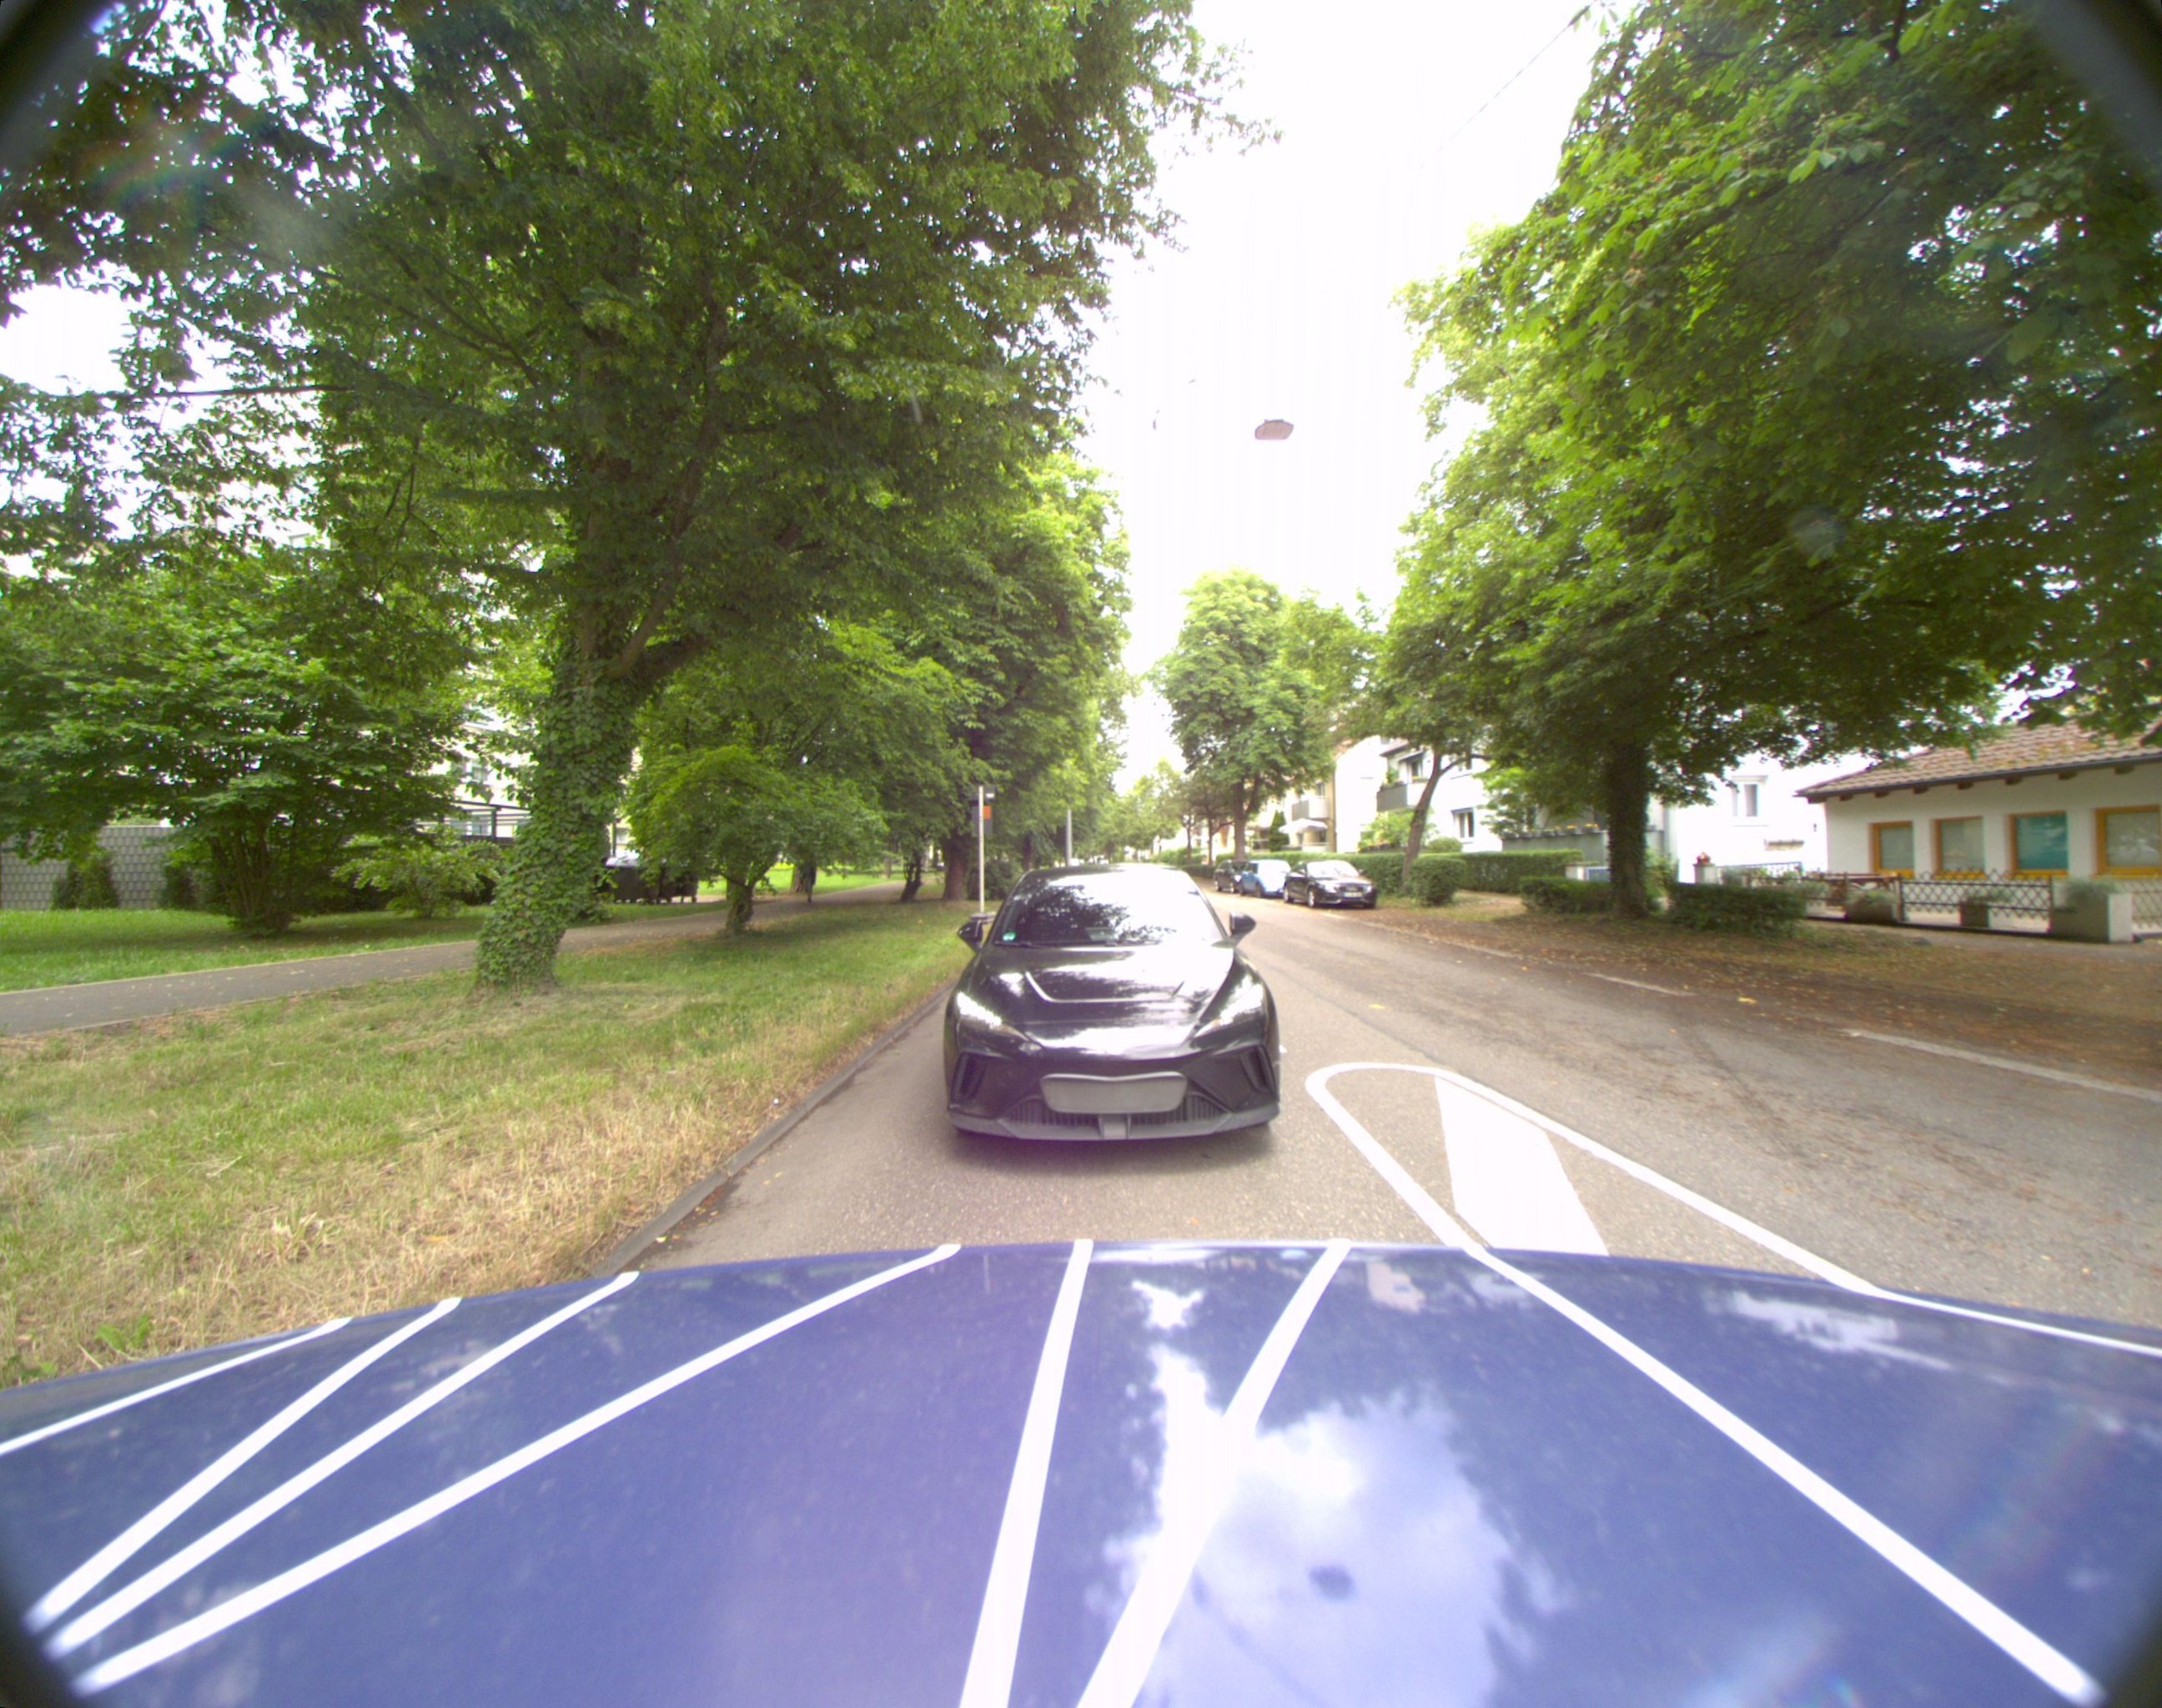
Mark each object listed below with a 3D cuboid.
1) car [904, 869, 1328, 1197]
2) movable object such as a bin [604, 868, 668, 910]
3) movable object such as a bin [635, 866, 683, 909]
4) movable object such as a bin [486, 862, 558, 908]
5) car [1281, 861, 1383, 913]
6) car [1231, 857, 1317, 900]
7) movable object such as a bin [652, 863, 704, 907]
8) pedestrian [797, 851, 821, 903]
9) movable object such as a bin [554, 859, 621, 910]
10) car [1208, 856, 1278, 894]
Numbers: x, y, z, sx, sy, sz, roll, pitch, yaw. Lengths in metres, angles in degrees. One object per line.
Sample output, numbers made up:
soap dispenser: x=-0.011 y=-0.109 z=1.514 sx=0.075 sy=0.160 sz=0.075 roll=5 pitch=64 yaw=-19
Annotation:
car: x=0.189 y=0.893 z=5.904 sx=1.998 sy=1.491 sz=4.615 roll=0 pitch=0 yaw=1
movable object such as a bin: x=-13.252 y=1.028 z=22.685 sx=1.194 sy=1.213 sz=1.348 roll=0 pitch=0 yaw=-8
movable object such as a bin: x=-13.237 y=1.047 z=23.884 sx=1.026 sy=1.296 sz=0.960 roll=0 pitch=0 yaw=-8
movable object such as a bin: x=-16.510 y=0.895 z=22.490 sx=1.194 sy=1.334 sz=1.348 roll=0 pitch=0 yaw=-8
car: x=7.409 y=0.915 z=22.883 sx=1.735 sy=1.394 sz=4.172 roll=0 pitch=0 yaw=1
car: x=7.210 y=0.880 z=28.904 sx=1.889 sy=1.492 sz=4.565 roll=0 pitch=0 yaw=-3
movable object such as a bin: x=-13.240 y=0.987 z=24.977 sx=1.194 sy=1.405 sz=1.110 roll=0 pitch=0 yaw=-8
pedestrian: x=-9.081 y=0.766 z=25.372 sx=0.565 sy=1.730 sz=0.570 roll=1 pitch=0 yaw=0
movable object such as a bin: x=-14.569 y=0.871 z=22.493 sx=1.194 sy=1.448 sz=1.348 roll=0 pitch=0 yaw=-8
car: x=7.080 y=0.882 z=33.658 sx=1.889 sy=1.524 sz=4.565 roll=0 pitch=0 yaw=-3
